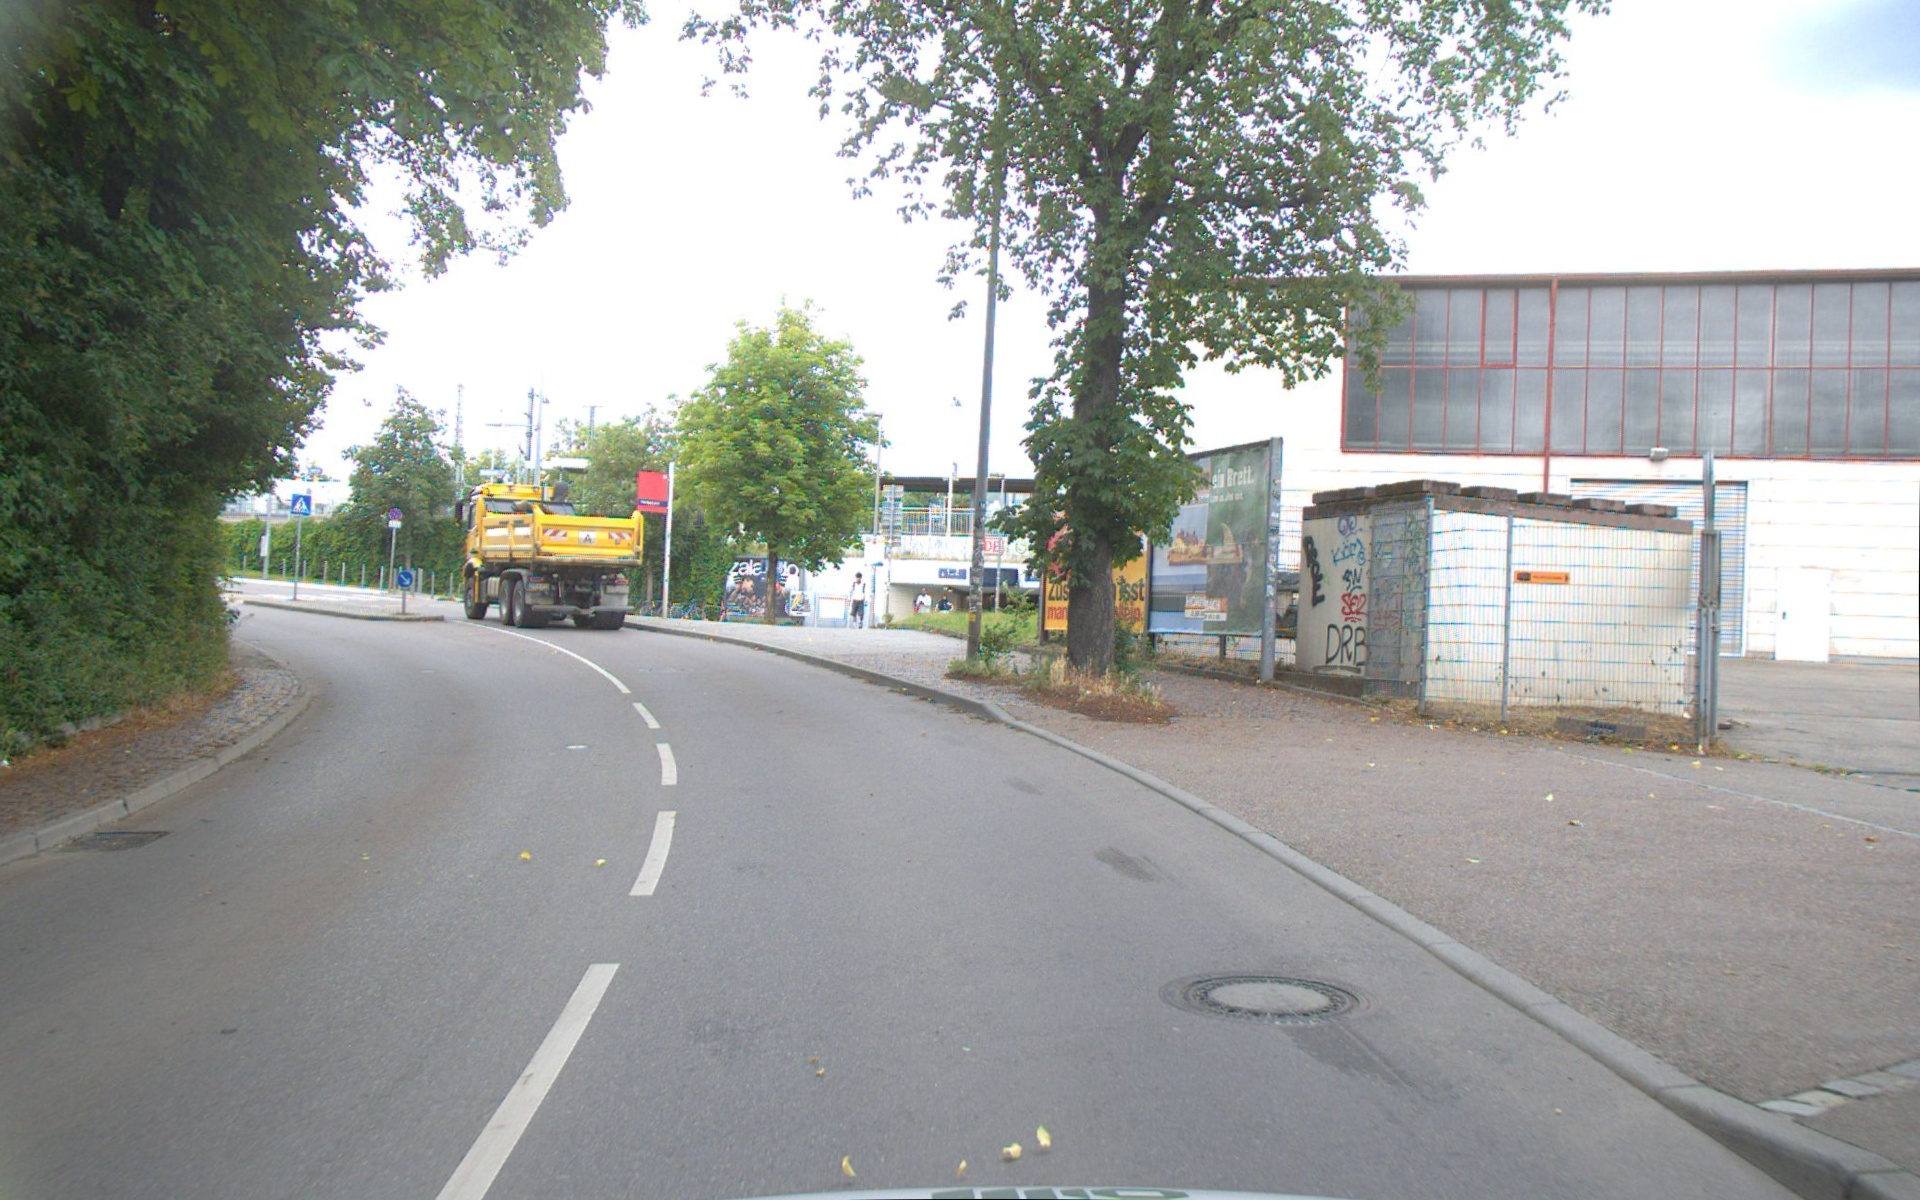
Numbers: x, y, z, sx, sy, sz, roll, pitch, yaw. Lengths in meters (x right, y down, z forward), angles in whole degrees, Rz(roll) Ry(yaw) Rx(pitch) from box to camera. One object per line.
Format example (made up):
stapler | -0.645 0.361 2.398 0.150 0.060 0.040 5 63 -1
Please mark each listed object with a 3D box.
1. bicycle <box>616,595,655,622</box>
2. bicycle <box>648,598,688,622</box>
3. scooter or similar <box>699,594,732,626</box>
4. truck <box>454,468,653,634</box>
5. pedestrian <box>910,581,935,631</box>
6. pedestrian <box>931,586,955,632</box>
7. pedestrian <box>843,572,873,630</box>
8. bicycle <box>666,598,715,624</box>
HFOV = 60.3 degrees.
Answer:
bicycle | -13.738 0.356 70.054 1.465 1.007 0.690 5 -1 -20
bicycle | -12.351 0.427 70.090 1.561 0.869 0.458 6 -2 -34
scooter or similar | -10.162 0.399 68.832 1.177 1.227 0.463 6 -3 -34
truck | -10.178 -1.266 40.678 2.733 3.543 8.057 3 1 -28
pedestrian | -1.331 0.231 58.664 0.797 1.732 0.749 2 -2 2
pedestrian | -0.608 0.333 60.072 0.783 1.611 0.802 2 -2 2
pedestrian | -3.066 0.040 49.959 0.831 1.714 0.940 1 -2 -1
bicycle | -11.338 0.483 69.570 1.951 0.880 0.504 7 -3 -38
